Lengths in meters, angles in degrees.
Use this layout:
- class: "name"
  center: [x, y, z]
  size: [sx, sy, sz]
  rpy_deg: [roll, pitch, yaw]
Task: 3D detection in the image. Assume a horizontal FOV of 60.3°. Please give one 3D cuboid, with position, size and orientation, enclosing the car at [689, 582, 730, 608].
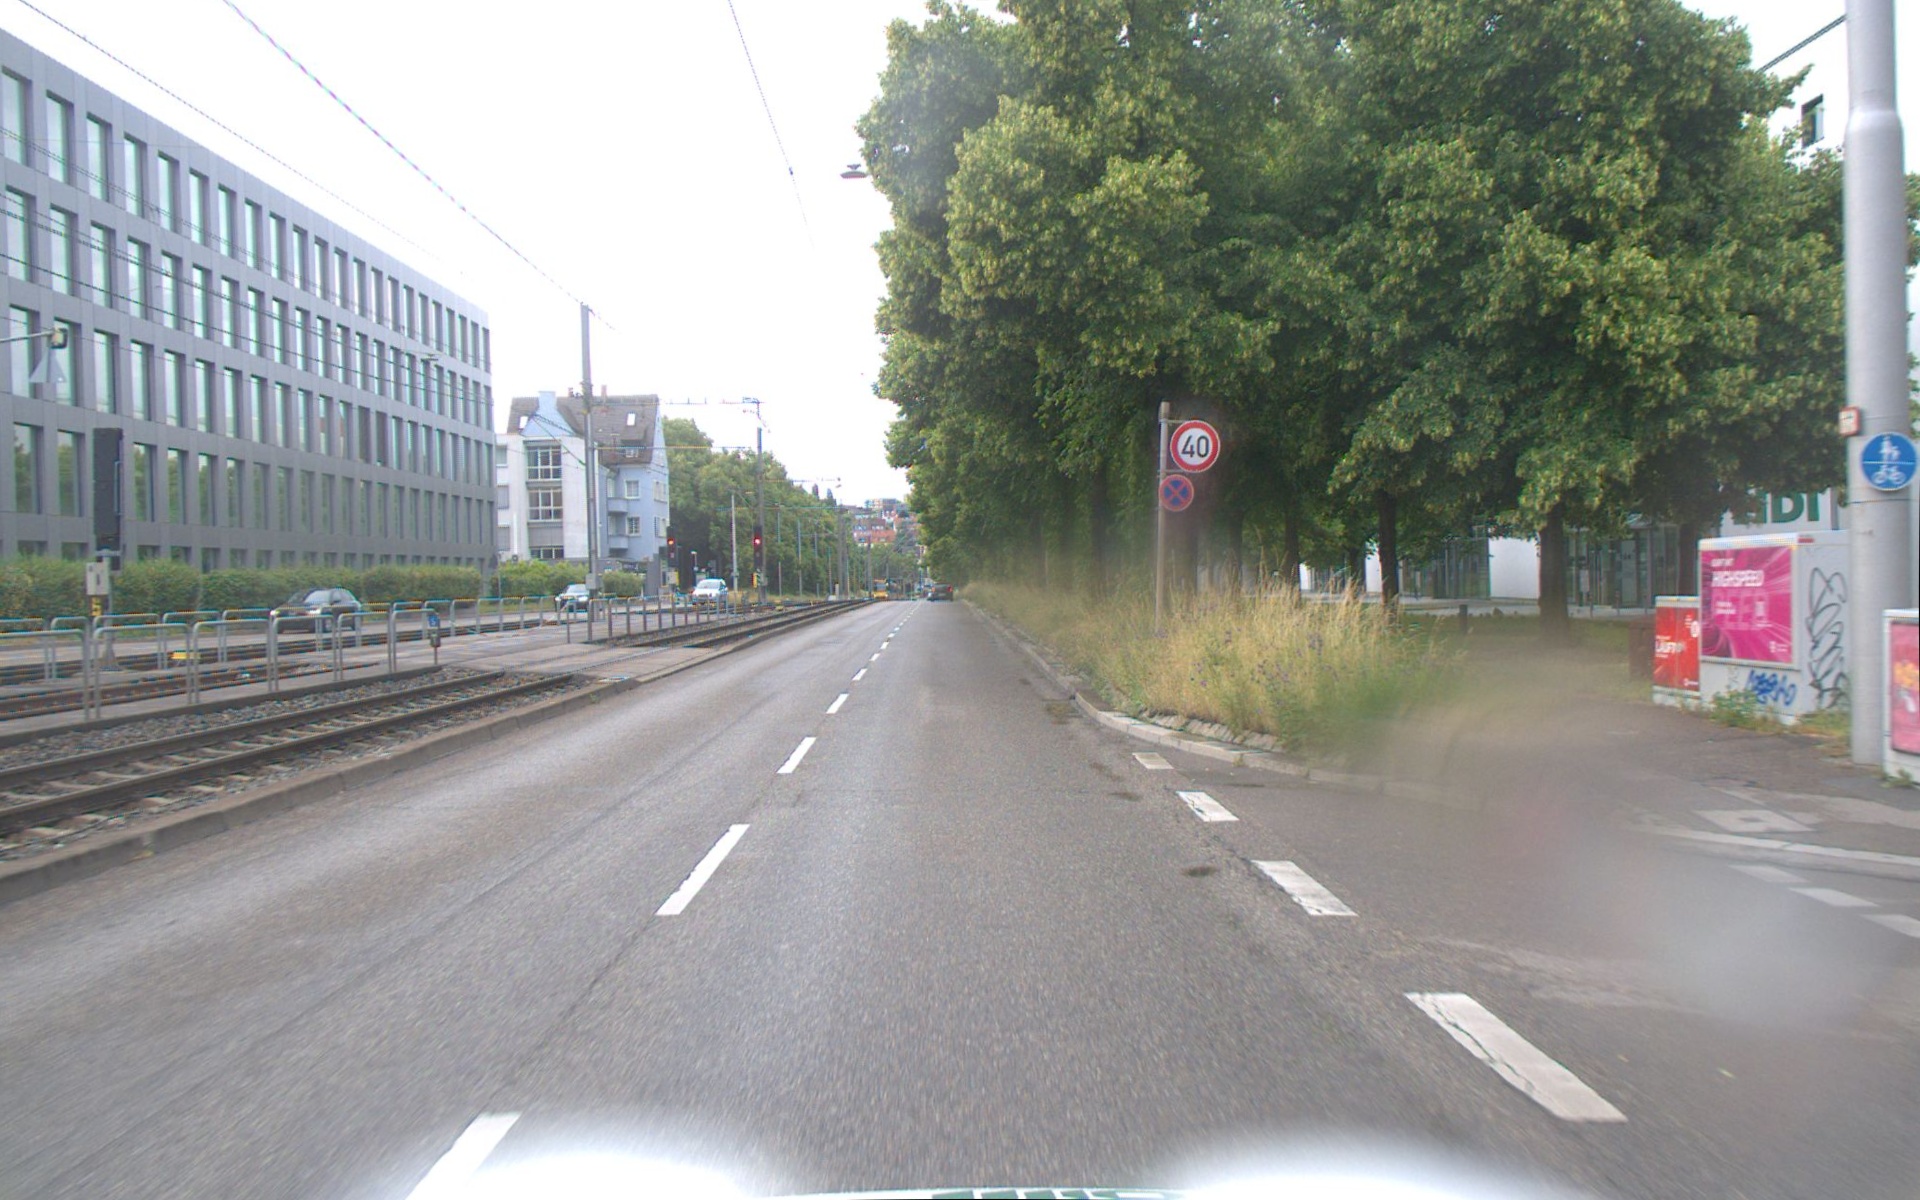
- class: "car"
  center: [-16.552, -0.346, 109.545]
  size: [1.863, 1.673, 4.885]
  rpy_deg: [-1, 0, 1]

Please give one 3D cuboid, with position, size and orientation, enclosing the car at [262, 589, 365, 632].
- class: "car"
  center: [-20.669, 0.315, 53.049]
  size: [1.720, 1.265, 3.987]
  rpy_deg: [-1, 0, -1]

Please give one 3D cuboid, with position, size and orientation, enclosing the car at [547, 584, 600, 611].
- class: "car"
  center: [-20.325, -0.133, 87.084]
  size: [1.761, 1.370, 4.259]
  rpy_deg: [-1, 0, -1]

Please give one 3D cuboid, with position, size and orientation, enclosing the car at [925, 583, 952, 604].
- class: "car"
  center: [-1.574, -0.496, 122.152]
  size: [1.942, 1.466, 4.473]
  rpy_deg: [-1, 0, -1]

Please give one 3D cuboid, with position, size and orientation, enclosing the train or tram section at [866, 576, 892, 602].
- class: "train or tram section"
  center: [-12.931, -1.666, 264.307]
  size: [3.148, 3.863, 14.790]
  rpy_deg: [-1, 0, 1]
